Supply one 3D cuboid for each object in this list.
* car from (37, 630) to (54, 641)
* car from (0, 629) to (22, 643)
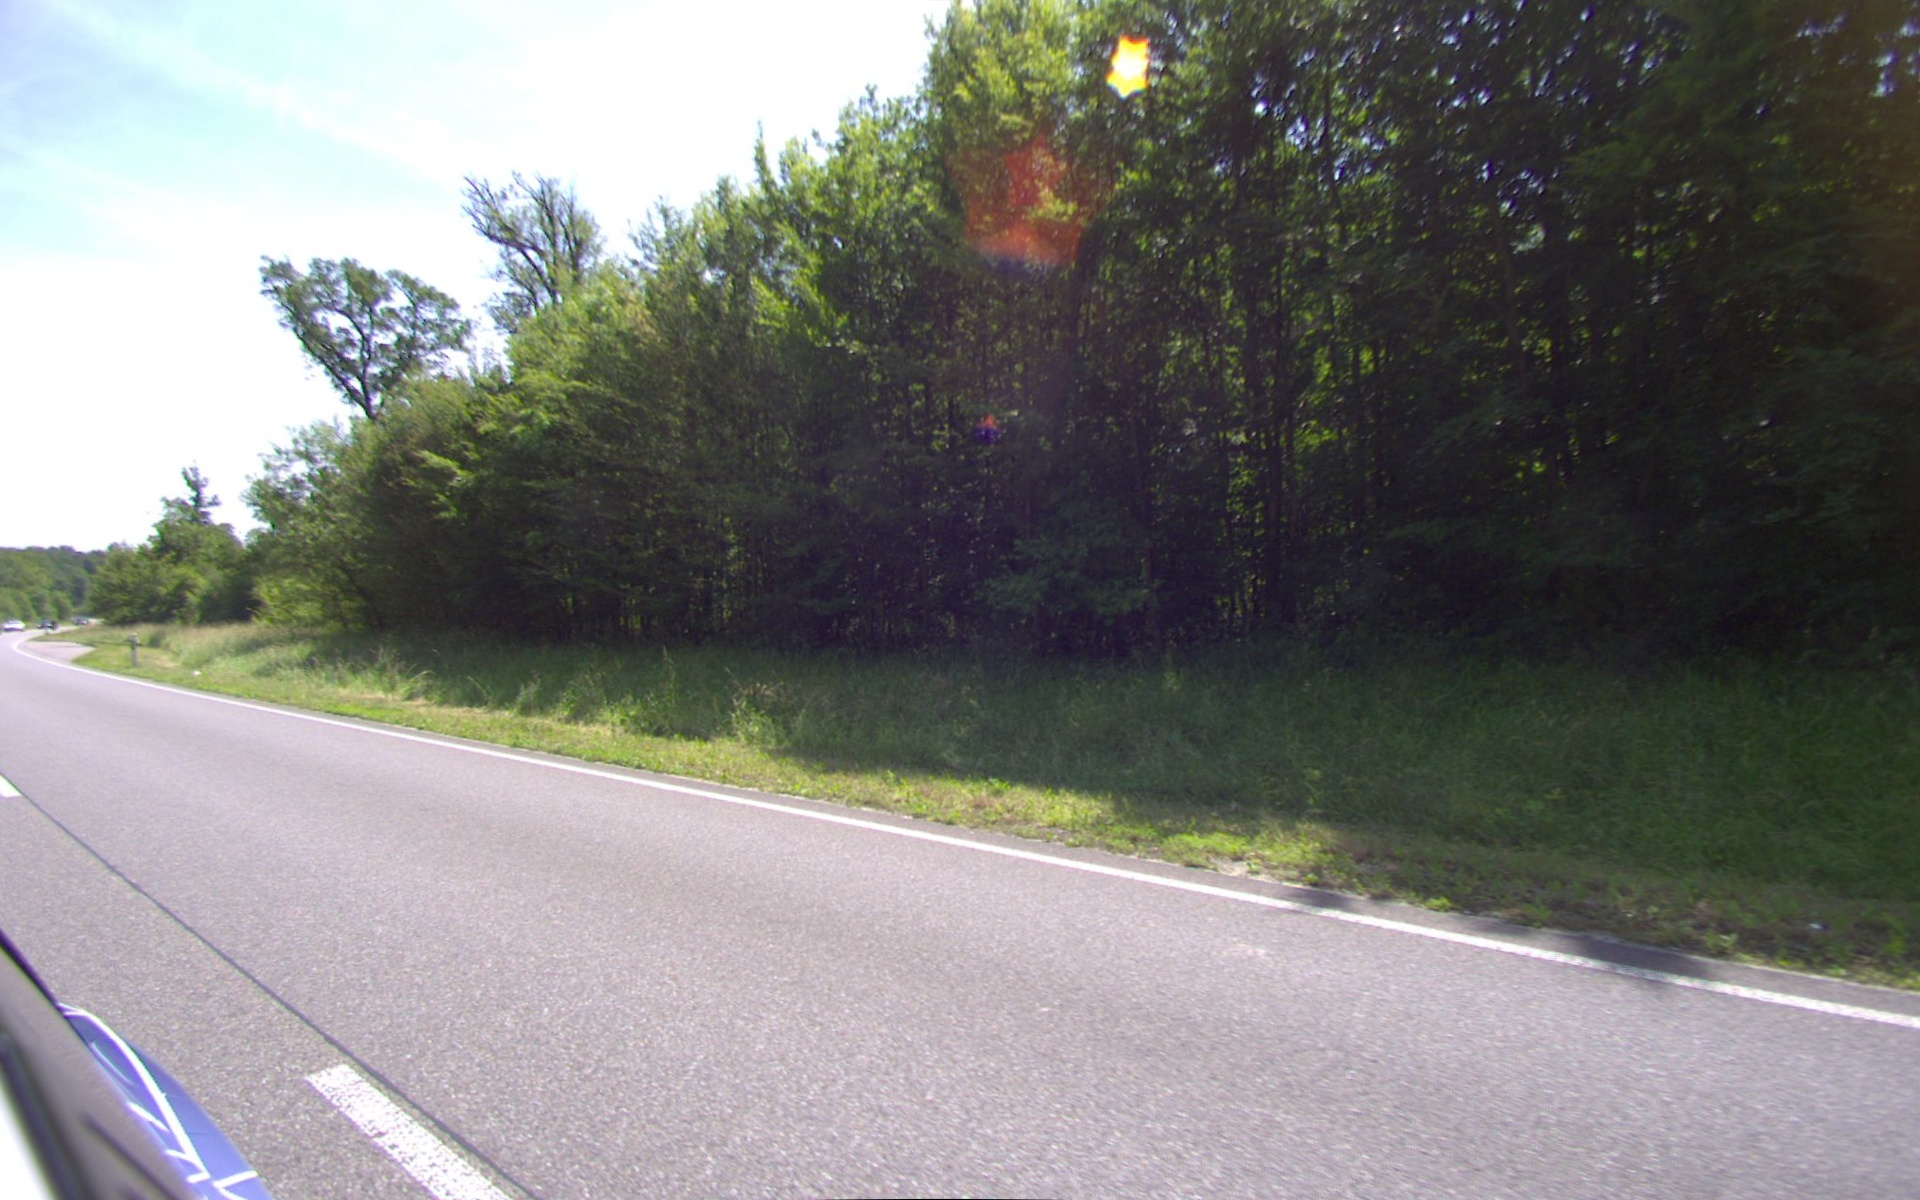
[{"bbox_3d":[-149.211,5.813,165.180,1.666,1.741,4.009,-1,0,-36],"label":"car"},{"bbox_3d":[-130.378,4.908,138.799,1.988,1.761,4.390,0,-1,-37],"label":"car"}]
